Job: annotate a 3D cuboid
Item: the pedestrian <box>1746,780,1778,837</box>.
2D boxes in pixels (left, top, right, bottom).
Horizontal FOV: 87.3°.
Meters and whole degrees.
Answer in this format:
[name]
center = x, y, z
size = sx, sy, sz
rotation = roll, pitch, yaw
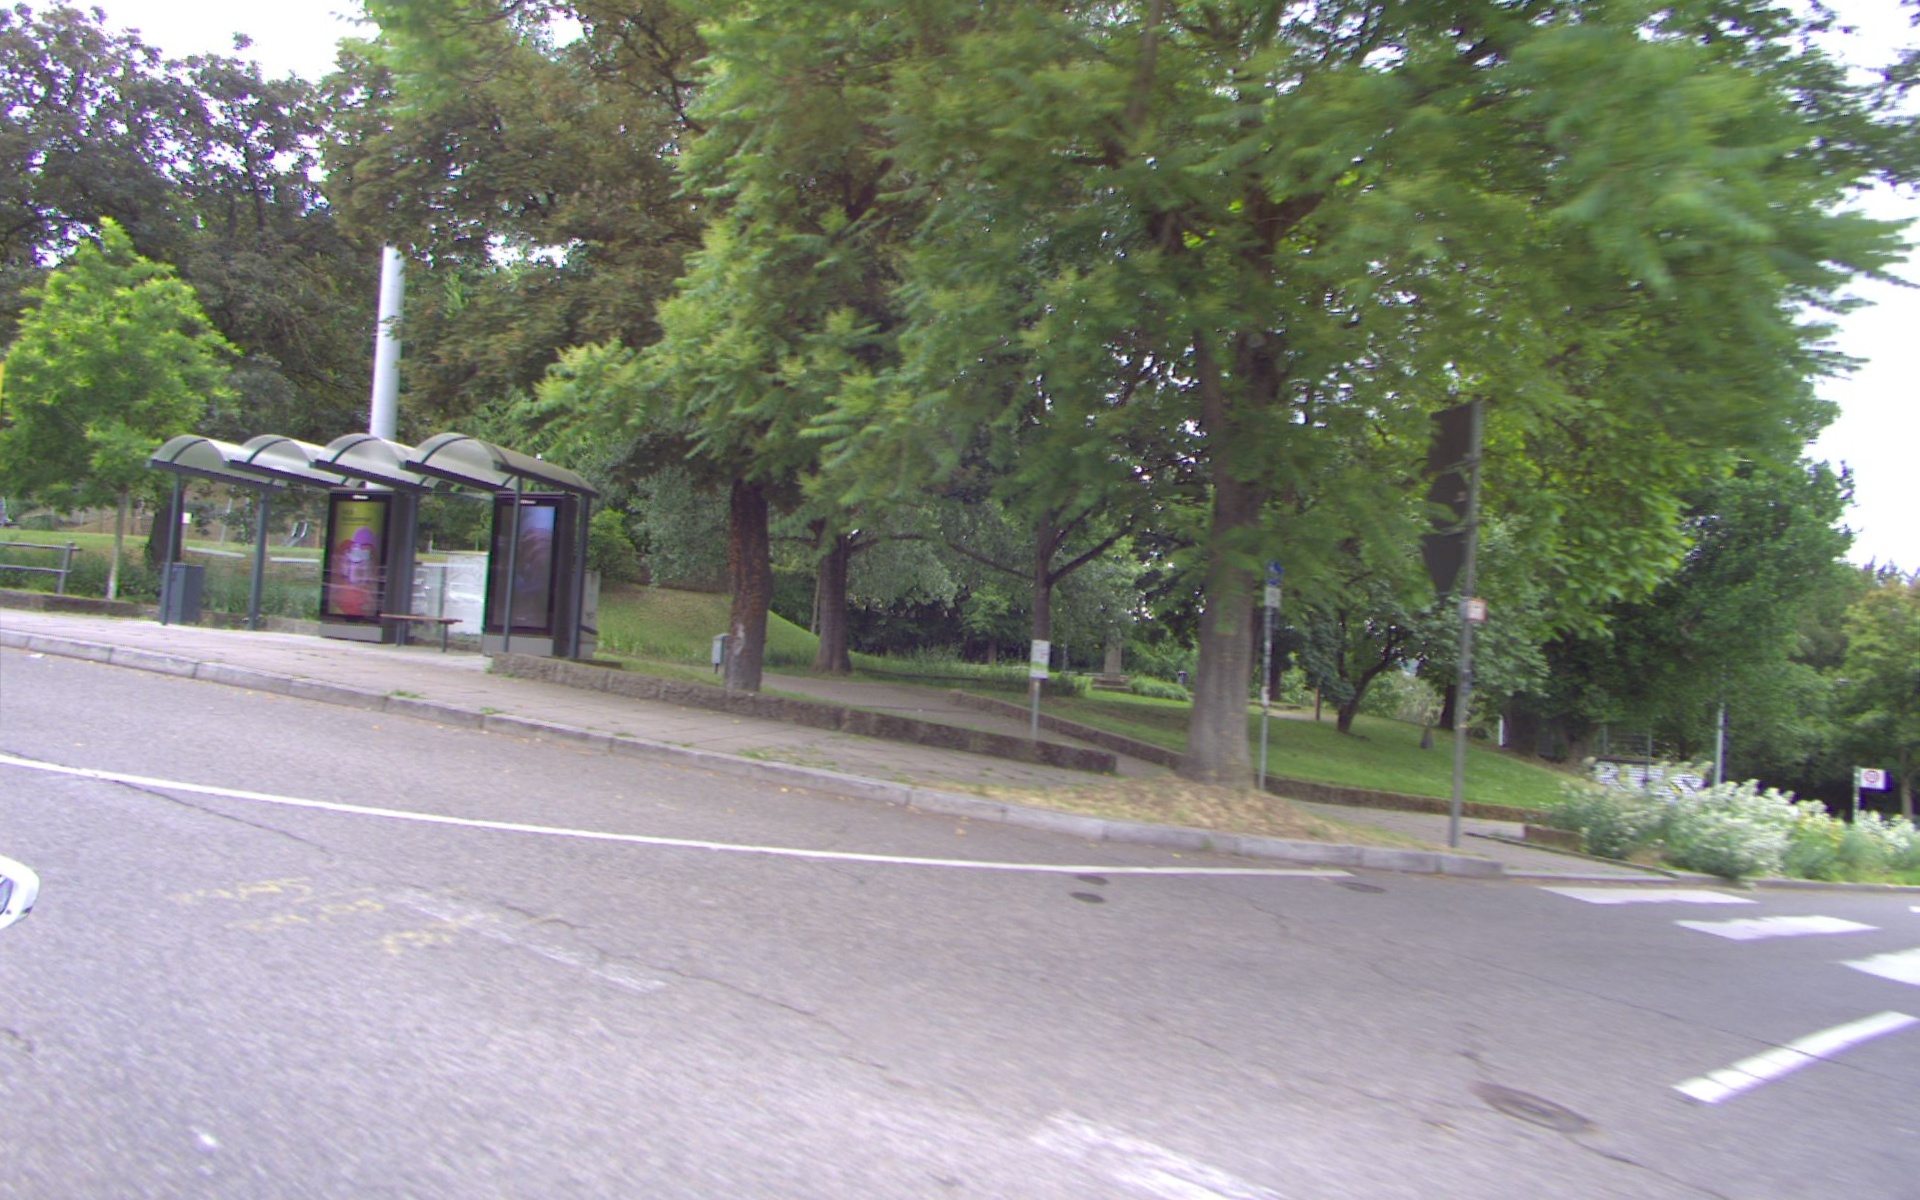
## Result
[pedestrian]
center = 25.922, 6.716, 32.520
size = 0.660, 1.668, 0.666
rotation = 6, -1, 39
